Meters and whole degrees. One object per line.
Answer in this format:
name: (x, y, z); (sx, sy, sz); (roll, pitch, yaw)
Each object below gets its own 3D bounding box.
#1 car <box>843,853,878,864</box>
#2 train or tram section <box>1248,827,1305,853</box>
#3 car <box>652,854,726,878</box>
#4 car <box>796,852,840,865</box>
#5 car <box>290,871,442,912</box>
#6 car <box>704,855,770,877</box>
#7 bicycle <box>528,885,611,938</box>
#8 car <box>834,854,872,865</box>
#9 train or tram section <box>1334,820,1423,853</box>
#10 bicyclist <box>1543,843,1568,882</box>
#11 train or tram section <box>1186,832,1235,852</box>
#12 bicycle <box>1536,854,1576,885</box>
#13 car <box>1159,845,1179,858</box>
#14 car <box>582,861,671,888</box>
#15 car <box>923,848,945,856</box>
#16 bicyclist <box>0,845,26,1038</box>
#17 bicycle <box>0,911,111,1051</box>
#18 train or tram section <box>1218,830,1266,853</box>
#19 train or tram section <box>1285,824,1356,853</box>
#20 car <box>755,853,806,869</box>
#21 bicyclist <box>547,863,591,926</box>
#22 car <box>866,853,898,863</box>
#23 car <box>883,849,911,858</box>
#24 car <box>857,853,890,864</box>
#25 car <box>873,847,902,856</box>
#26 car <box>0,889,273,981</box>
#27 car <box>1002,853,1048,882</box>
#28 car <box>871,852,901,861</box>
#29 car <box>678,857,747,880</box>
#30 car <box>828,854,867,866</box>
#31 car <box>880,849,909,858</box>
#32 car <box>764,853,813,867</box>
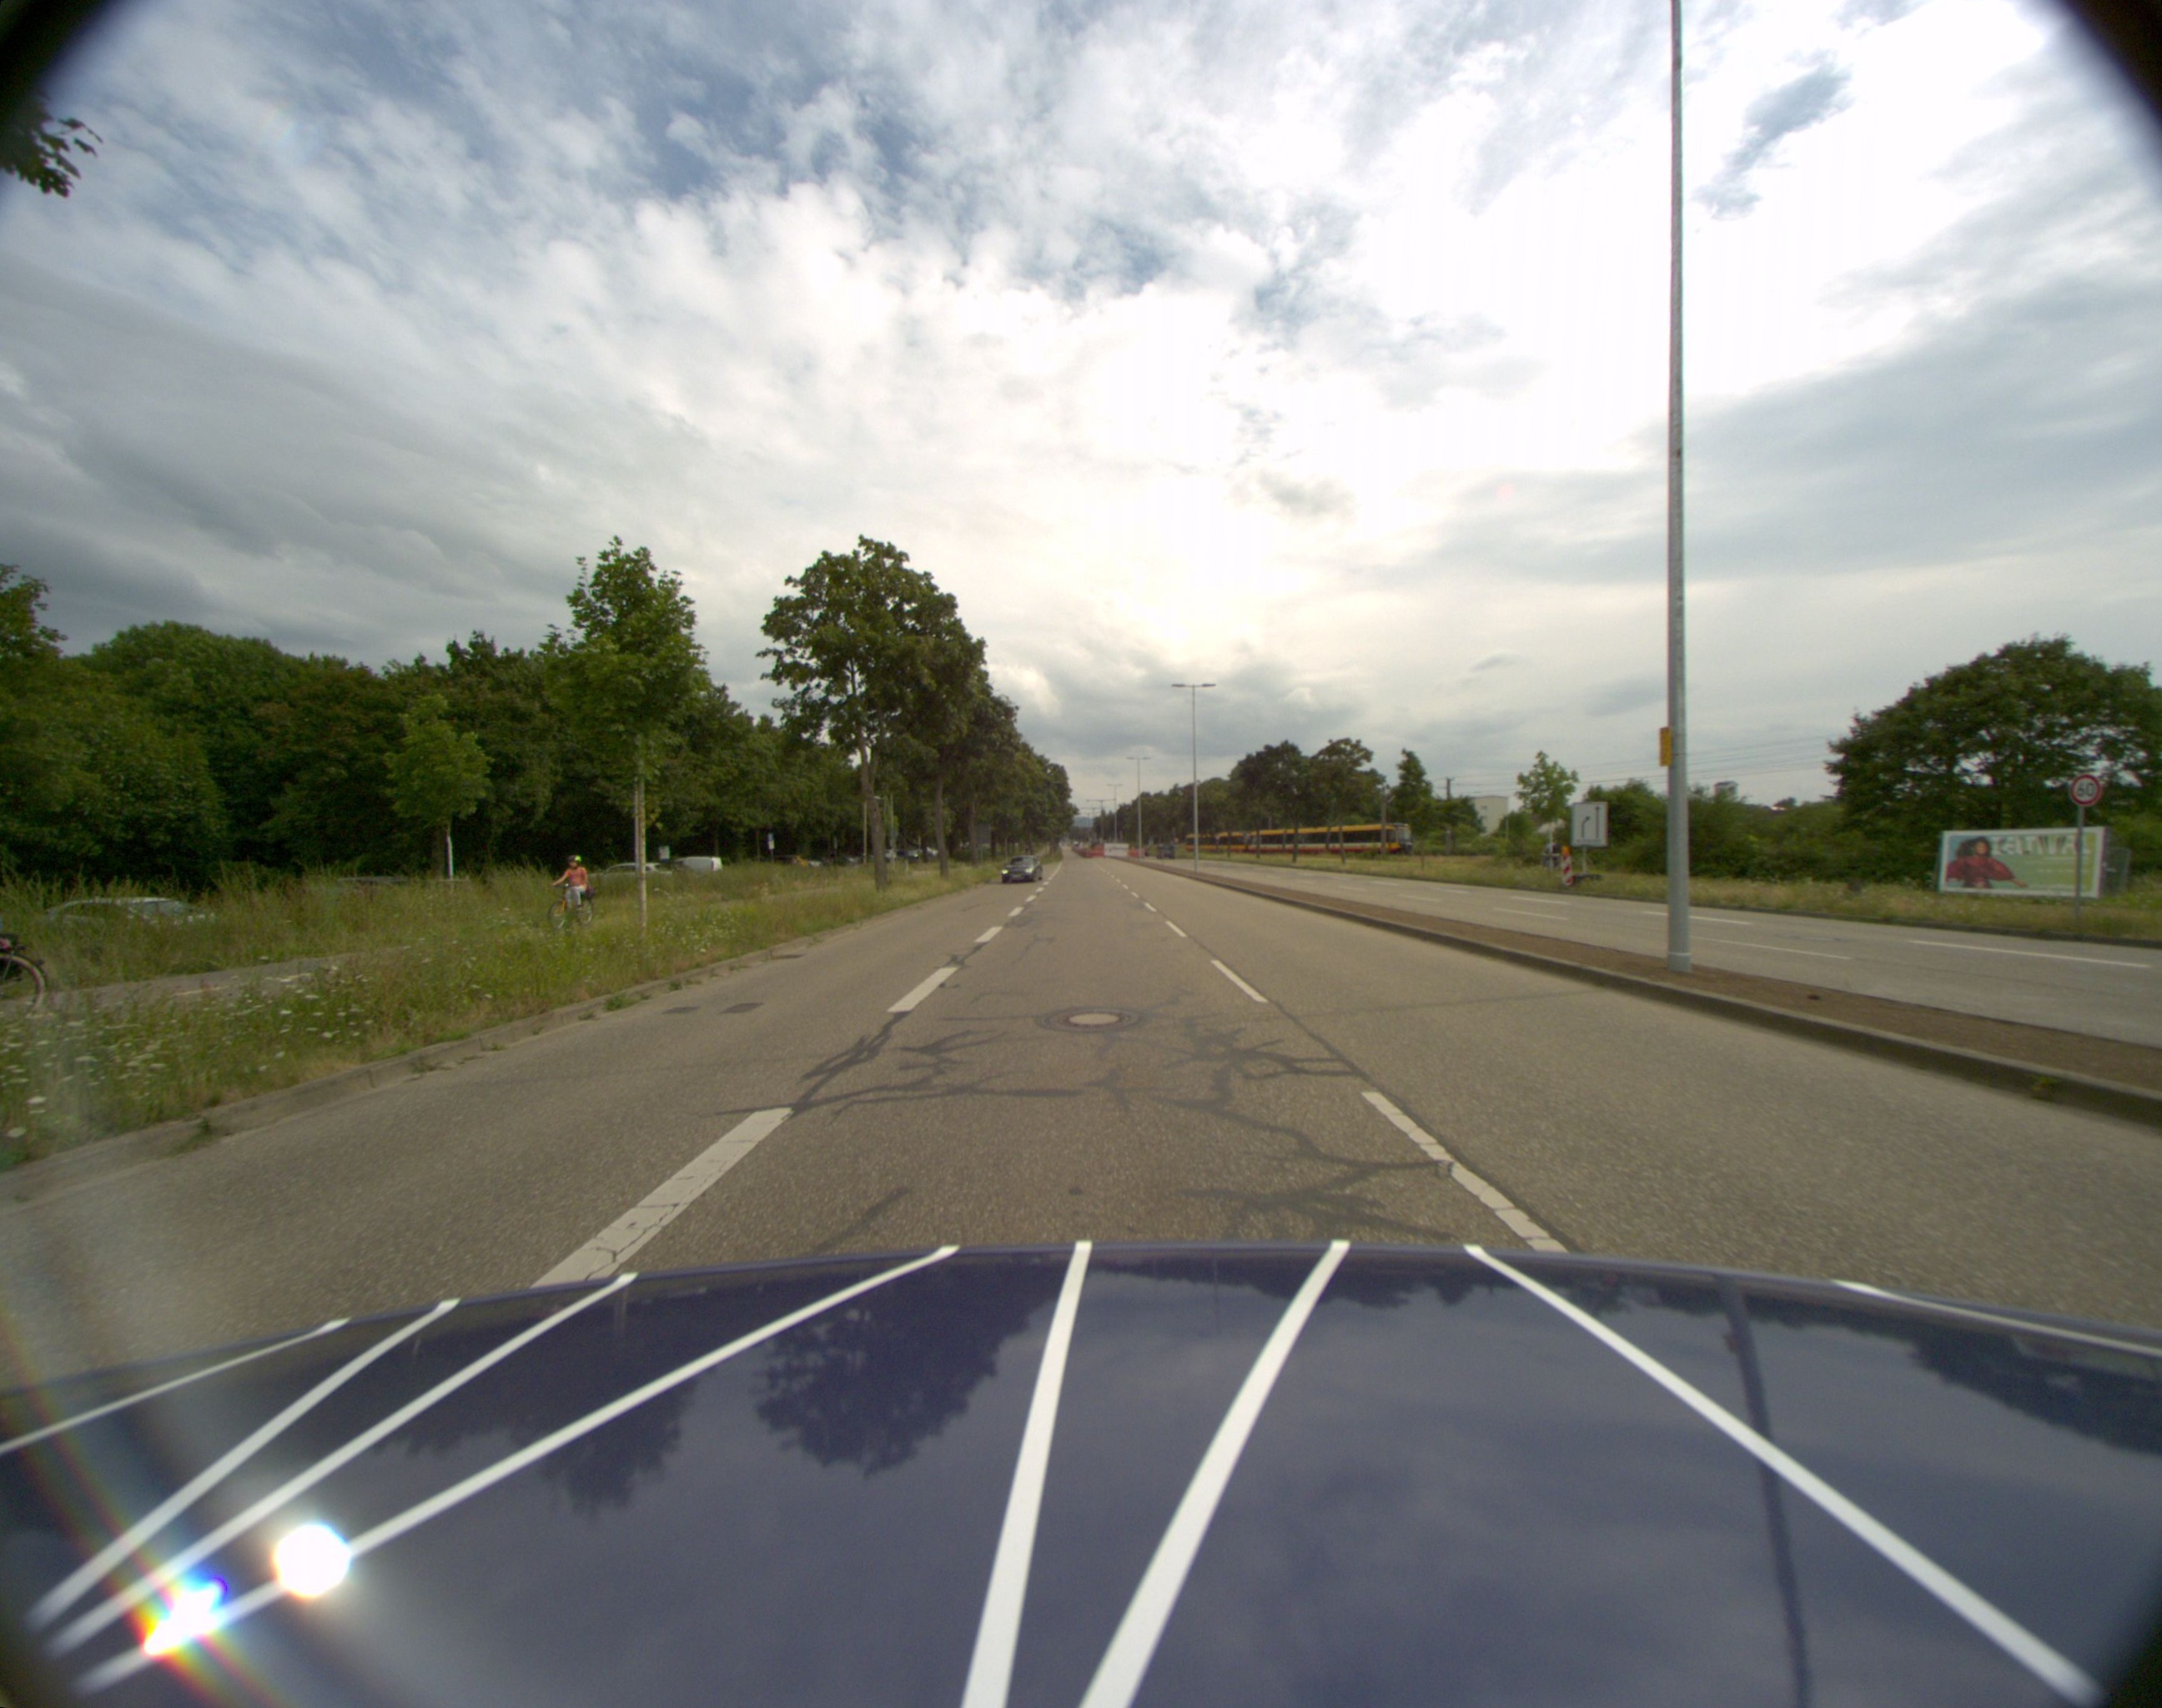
car: (-27.690, 0.556, 95.428); (3.999, 1.358, 1.618); (0, 1, -5)
train or tram section: (28.402, -1.961, 111.275); (2.923, 3.402, 11.933); (-2, 1, -12)
car: (-25.844, 0.783, 50.174); (3.999, 1.546, 1.650); (0, 1, -5)
car: (-27.121, 0.477, 78.379); (3.999, 1.358, 1.618); (0, 1, -5)
car: (-26.999, 1.390, 28.802); (3.999, 1.435, 1.650); (0, 1, -5)
car: (-25.235, 0.864, 55.875); (3.998, 1.576, 1.803); (0, 1, -2)
bicycle: (-10.685, 1.178, 15.952); (0.515, 0.958, 1.782); (0, 0, 1)
car: (-27.105, 0.658, 90.399); (3.999, 1.358, 1.618); (0, 1, -5)
train or tram section: (34.191, -1.925, 88.092); (2.924, 3.402, 11.930); (-2, 1, -16)
bicyclist: (22.693, 0.390, 36.358); (0.645, 1.821, 0.819); (0, 1, 1)
train or tram section: (23.046, -2.036, 136.452); (2.923, 3.402, 15.639); (-2, 1, -12)
bicycle: (22.697, 0.713, 36.359); (0.537, 1.414, 2.167); (1, 1, 1)
car: (11.411, -0.362, 99.090); (1.852, 1.644, 4.258); (0, 0, -3)
car: (-25.667, 1.142, 43.032); (3.999, 1.435, 1.650); (0, 1, -5)
car: (-27.592, -0.393, 142.802); (3.999, 1.358, 1.618); (0, 1, -5)
bicyclist: (-9.585, 0.761, 6.234); (0.653, 1.648, 0.781); (-2, 1, 1)
bicycle: (-9.548, 1.122, 6.143); (0.515, 1.141, 2.231); (0, 0, 1)
train or tram section: (25.903, -1.995, 122.946); (2.923, 3.402, 11.933); (-2, 1, -12)
train or tram section: (31.119, -1.936, 99.640); (2.924, 3.402, 11.931); (-2, 1, -14)
car: (-27.163, 0.633, 68.785); (3.999, 1.358, 1.618); (0, 1, -5)
bicyclist: (-10.685, 0.843, 15.874); (0.539, 1.275, 0.450); (-2, 1, 1)
car: (-27.648, 0.574, 105.561); (3.999, 1.358, 1.618); (0, 1, -5)
car: (-28.636, -0.061, 118.313); (3.999, 1.358, 1.618); (0, 1, -5)
car: (-27.687, 0.608, 101.218); (3.999, 1.358, 1.618); (0, 1, -5)
car: (-28.335, -0.380, 111.302); (3.999, 1.358, 1.618); (0, 1, -5)
car: (-16.550, 1.328, 12.891); (3.811, 1.368, 1.537); (0, 1, -5)
car: (-2.992, 0.704, 41.468); (1.772, 1.439, 4.325); (-1, 0, 5)
car: (-27.837, 0.358, 108.422); (3.999, 1.358, 1.618); (0, 1, -5)
car: (-25.895, 0.991, 53.494); (3.998, 1.576, 1.803); (0, 1, -2)
car: (-26.990, 0.709, 87.842); (3.999, 1.358, 1.618); (0, 1, -5)
car: (-28.358, -0.013, 115.493); (3.999, 1.358, 1.618); (0, 1, -5)
car: (-27.444, 0.559, 71.402); (3.999, 1.358, 1.618); (0, 1, -5)
